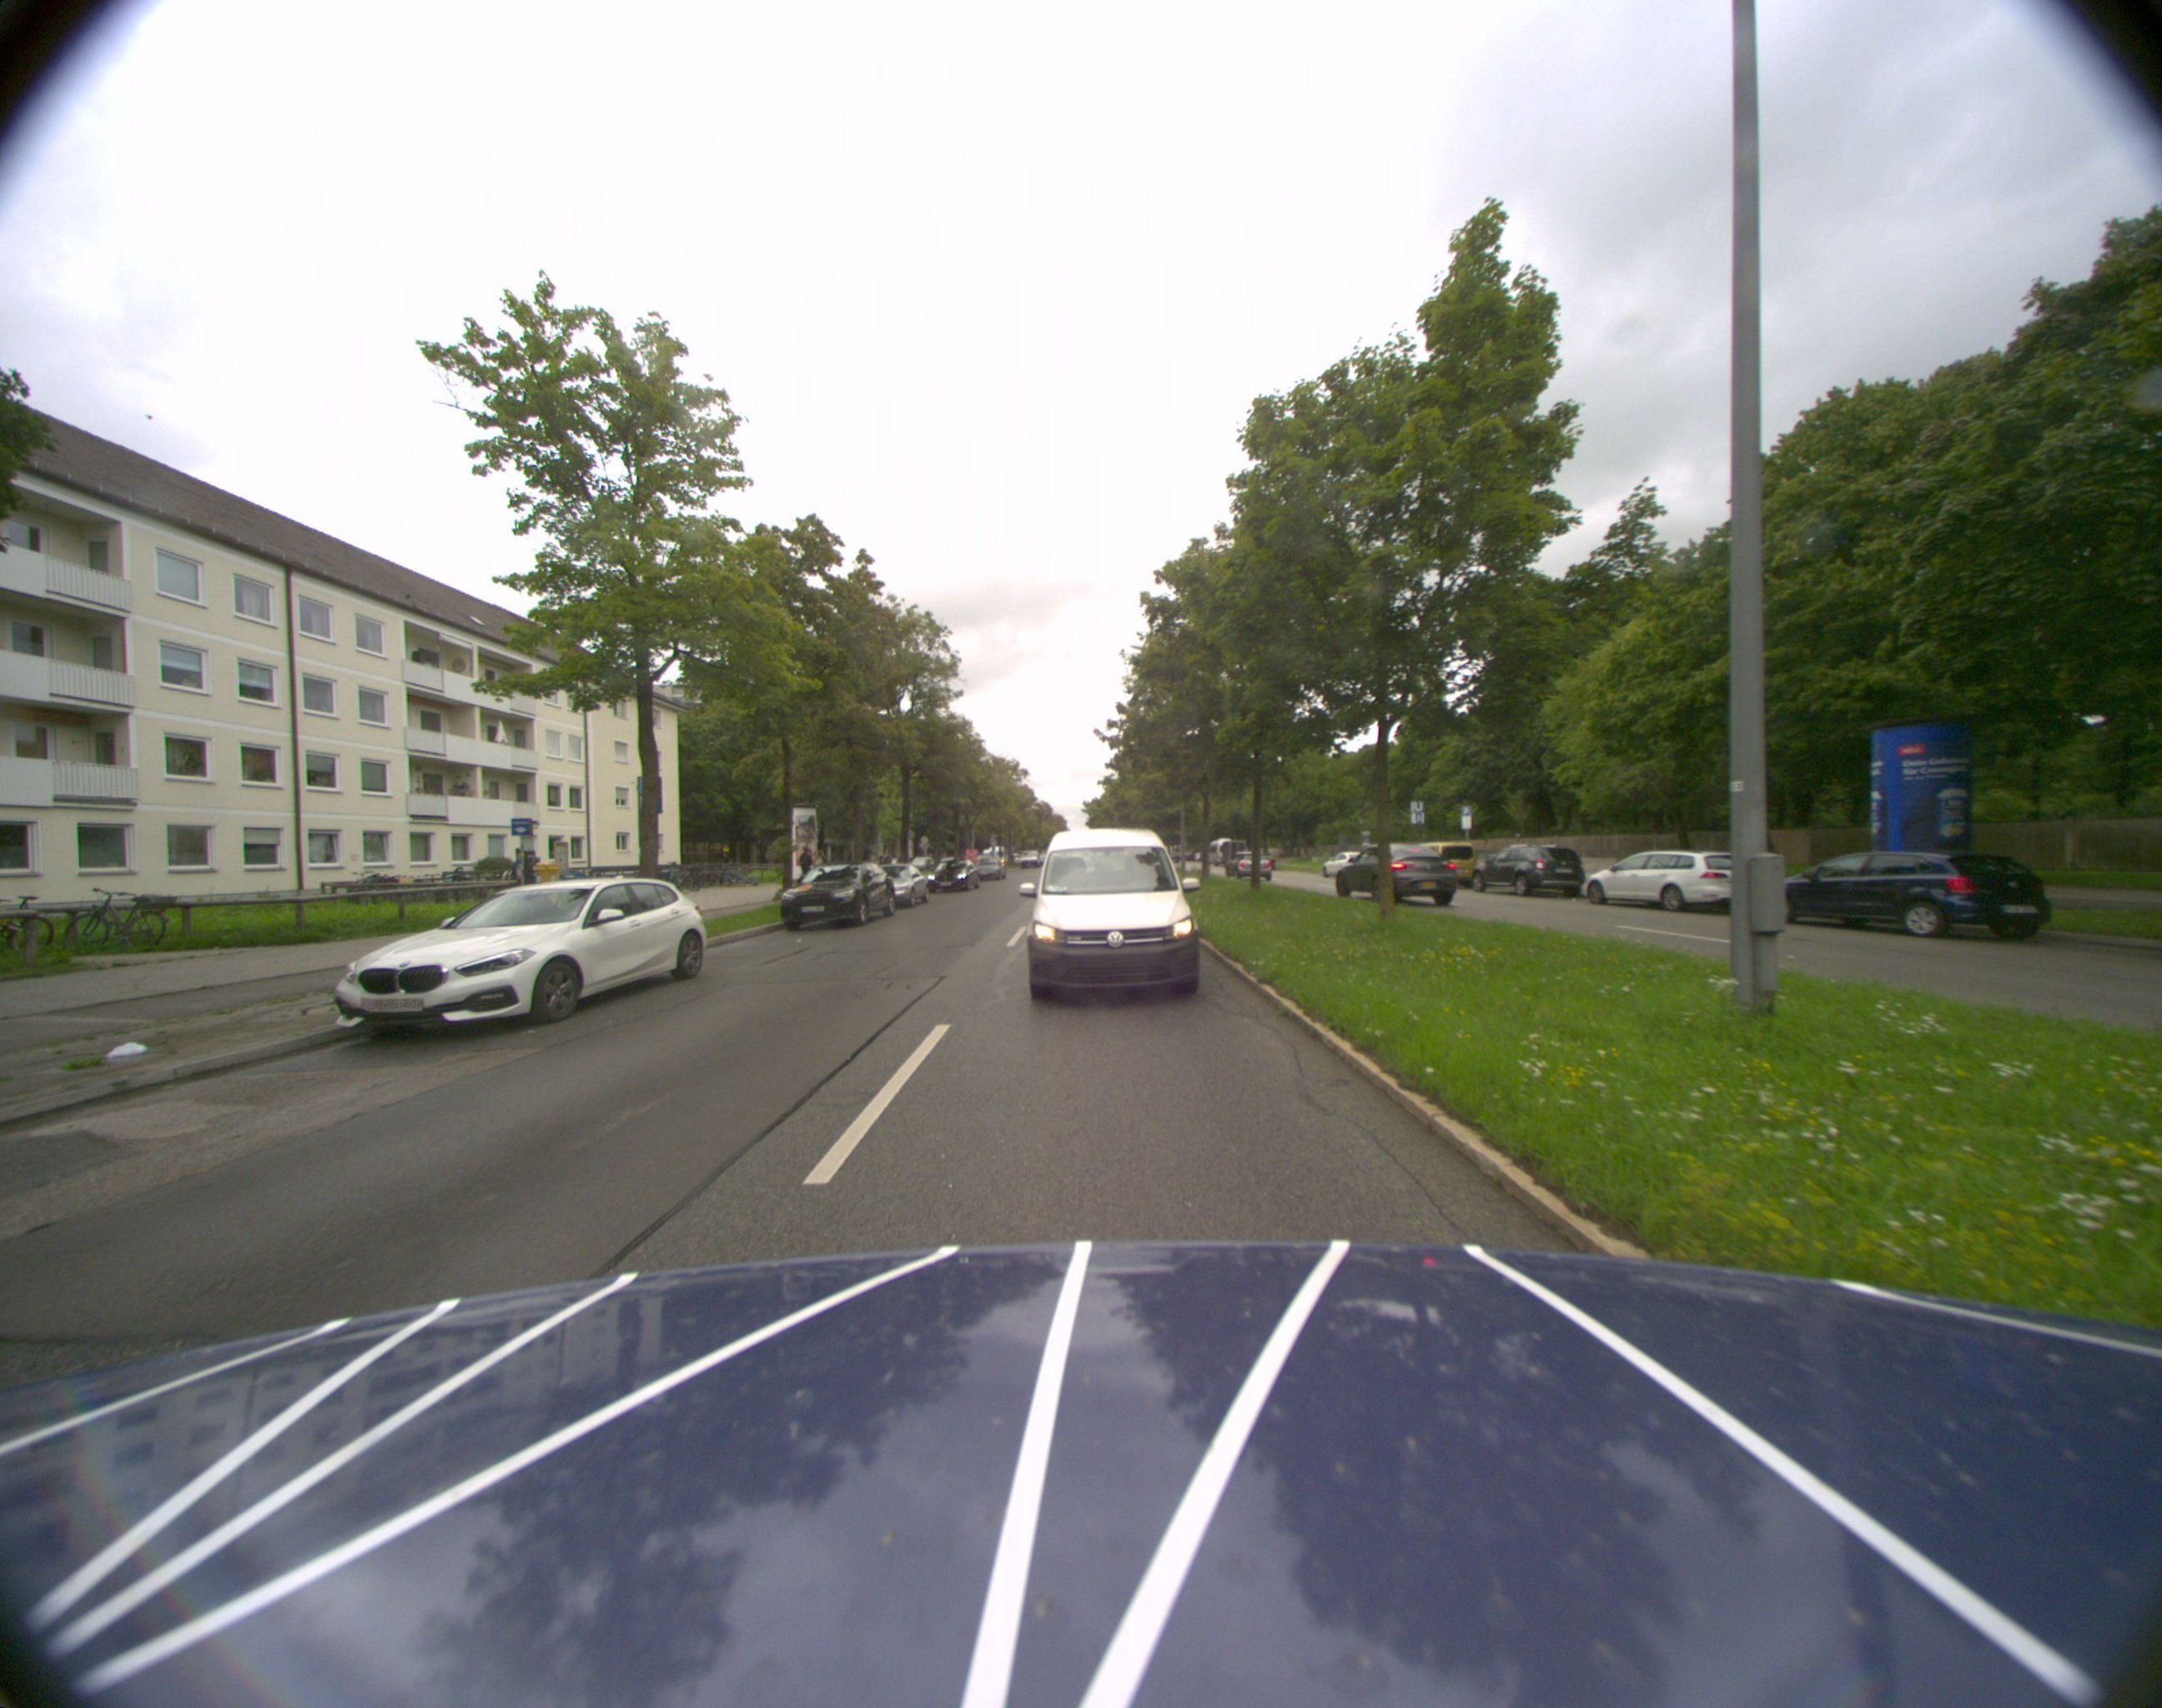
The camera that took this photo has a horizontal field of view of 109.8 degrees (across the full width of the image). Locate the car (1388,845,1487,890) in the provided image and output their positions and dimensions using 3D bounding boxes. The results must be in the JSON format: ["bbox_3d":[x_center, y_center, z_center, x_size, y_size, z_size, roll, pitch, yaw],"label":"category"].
[{"bbox_3d":[14.654,0.497,31.520,1.862,1.761,4.533,0,1,-2],"label":"car"}]

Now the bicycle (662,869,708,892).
[{"bbox_3d":[-16.255,1.074,31.224,1.599,0.910,0.498,0,1,-4],"label":"bicycle"}]

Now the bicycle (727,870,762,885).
[{"bbox_3d":[-16.036,1.121,36.222,1.392,0.709,0.498,1,1,-4],"label":"bicycle"}]

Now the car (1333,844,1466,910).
[{"bbox_3d":[8.625,0.578,21.065,1.826,1.580,4.501,-1,0,1],"label":"car"}]

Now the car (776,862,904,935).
[{"bbox_3d":[-5.861,1.021,19.051,1.826,1.502,4.157,-2,1,0],"label":"car"}]

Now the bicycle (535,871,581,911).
[{"bbox_3d":[-15.676,1.098,22.789,0.466,1.110,1.253,-1,1,1],"label":"bicycle"}]

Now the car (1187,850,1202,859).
[{"bbox_3d":[18.473,0.128,123.341,1.717,1.401,4.040,0,1,-2],"label":"car"}]

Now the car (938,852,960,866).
[{"bbox_3d":[-15.664,0.573,90.200,1.827,1.460,4.300,-1,0,1],"label":"car"}]

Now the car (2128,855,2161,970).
[{"bbox_3d":[14.769,0.784,7.922,1.826,1.468,4.259,1,1,1],"label":"car"}]

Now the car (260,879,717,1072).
[{"bbox_3d":[-6.249,1.143,8.841,1.826,1.428,4.287,-3,1,1],"label":"car"}]

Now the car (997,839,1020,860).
[{"bbox_3d":[-8.684,-0.543,91.283,1.998,2.441,4.999,-2,1,1],"label":"car"}]

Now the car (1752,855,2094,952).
[{"bbox_3d":[14.616,0.768,13.571,1.826,1.438,3.787,1,1,-2],"label":"car"}]

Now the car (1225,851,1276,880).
[{"bbox_3d":[8.467,0.539,38.264,1.722,1.374,3.767,1,0,1],"label":"car"}]

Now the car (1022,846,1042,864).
[{"bbox_3d":[-5.581,0.057,87.112,1.827,1.939,4.300,-2,1,1],"label":"car"}]

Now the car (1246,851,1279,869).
[{"bbox_3d":[15.011,0.462,63.069,1.717,1.401,4.040,0,1,-2],"label":"car"}]

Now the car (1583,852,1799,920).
[{"bbox_3d":[14.853,0.704,18.878,1.826,1.461,4.300,0,1,-2],"label":"car"}]

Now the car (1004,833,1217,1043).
[{"bbox_3d":[0.268,0.716,8.934,1.772,1.742,4.545,-3,1,0],"label":"car"}]

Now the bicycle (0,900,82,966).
[{"bbox_3d":[-18.950,1.385,13.231,2.032,1.061,0.663,-2,1,-4],"label":"bicycle"}]

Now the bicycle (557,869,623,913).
[{"bbox_3d":[-14.457,1.060,22.435,0.545,1.182,2.076,-1,1,1],"label":"bicycle"}]

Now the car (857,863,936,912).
[{"bbox_3d":[-5.966,1.041,24.977,1.617,1.371,3.926,-2,1,-1],"label":"car"}]

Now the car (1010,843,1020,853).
[{"bbox_3d":[-16.068,-1.421,186.199,1.999,2.440,4.999,-2,1,-1],"label":"car"}]

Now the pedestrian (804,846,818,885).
[{"bbox_3d":[-12.334,0.530,34.744,0.560,1.745,0.656,-2,1,-19],"label":"pedestrian"}]

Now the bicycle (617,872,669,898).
[{"bbox_3d":[-16.457,1.143,28.590,1.599,0.910,0.498,-2,1,-4],"label":"bicycle"}]

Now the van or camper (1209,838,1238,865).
[{"bbox_3d":[14.998,-0.306,80.453,1.999,2.791,4.931,0,1,-2],"label":"van or camper"}]

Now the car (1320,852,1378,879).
[{"bbox_3d":[14.936,0.597,42.554,1.717,1.434,4.040,0,1,-2],"label":"car"}]

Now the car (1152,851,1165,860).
[{"bbox_3d":[13.054,0.209,128.250,1.866,1.448,4.500,1,1,0],"label":"car"}]

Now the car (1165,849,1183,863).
[{"bbox_3d":[12.253,0.240,100.214,1.866,1.659,4.500,1,1,0],"label":"car"}]

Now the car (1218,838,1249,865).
[{"bbox_3d":[15.098,-0.281,75.422,1.999,2.576,4.499,0,1,-2],"label":"car"}]

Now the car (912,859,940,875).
[{"bbox_3d":[-15.486,1.271,76.239,1.827,1.460,4.300,-2,1,1],"label":"car"}]

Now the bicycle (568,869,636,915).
[{"bbox_3d":[-13.557,1.039,21.570,0.545,1.182,2.076,-1,1,1],"label":"bicycle"}]

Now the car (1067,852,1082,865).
[{"bbox_3d":[-0.877,0.599,103.434,1.984,1.591,4.402,1,1,1],"label":"car"}]

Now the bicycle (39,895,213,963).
[{"bbox_3d":[-16.618,1.291,13.261,2.032,1.061,0.663,-2,1,-4],"label":"bicycle"}]

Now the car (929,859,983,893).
[{"bbox_3d":[-5.691,0.969,35.103,1.827,1.371,4.299,-2,1,-1],"label":"car"}]

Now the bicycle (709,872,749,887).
[{"bbox_3d":[-16.087,1.148,34.737,1.599,0.634,0.498,1,1,-4],"label":"bicycle"}]

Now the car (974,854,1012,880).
[{"bbox_3d":[-5.638,0.802,49.136,1.827,1.460,4.300,-2,1,1],"label":"car"}]

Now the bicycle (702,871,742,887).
[{"bbox_3d":[-16.722,1.150,35.443,1.599,0.691,0.498,-2,1,-4],"label":"bicycle"}]

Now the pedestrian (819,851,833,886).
[{"bbox_3d":[-11.717,0.653,34.880,0.560,1.595,0.519,-2,1,-19],"label":"pedestrian"}]

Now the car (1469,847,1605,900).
[{"bbox_3d":[14.922,0.572,25.160,2.007,1.607,4.040,0,1,-2],"label":"car"}]
